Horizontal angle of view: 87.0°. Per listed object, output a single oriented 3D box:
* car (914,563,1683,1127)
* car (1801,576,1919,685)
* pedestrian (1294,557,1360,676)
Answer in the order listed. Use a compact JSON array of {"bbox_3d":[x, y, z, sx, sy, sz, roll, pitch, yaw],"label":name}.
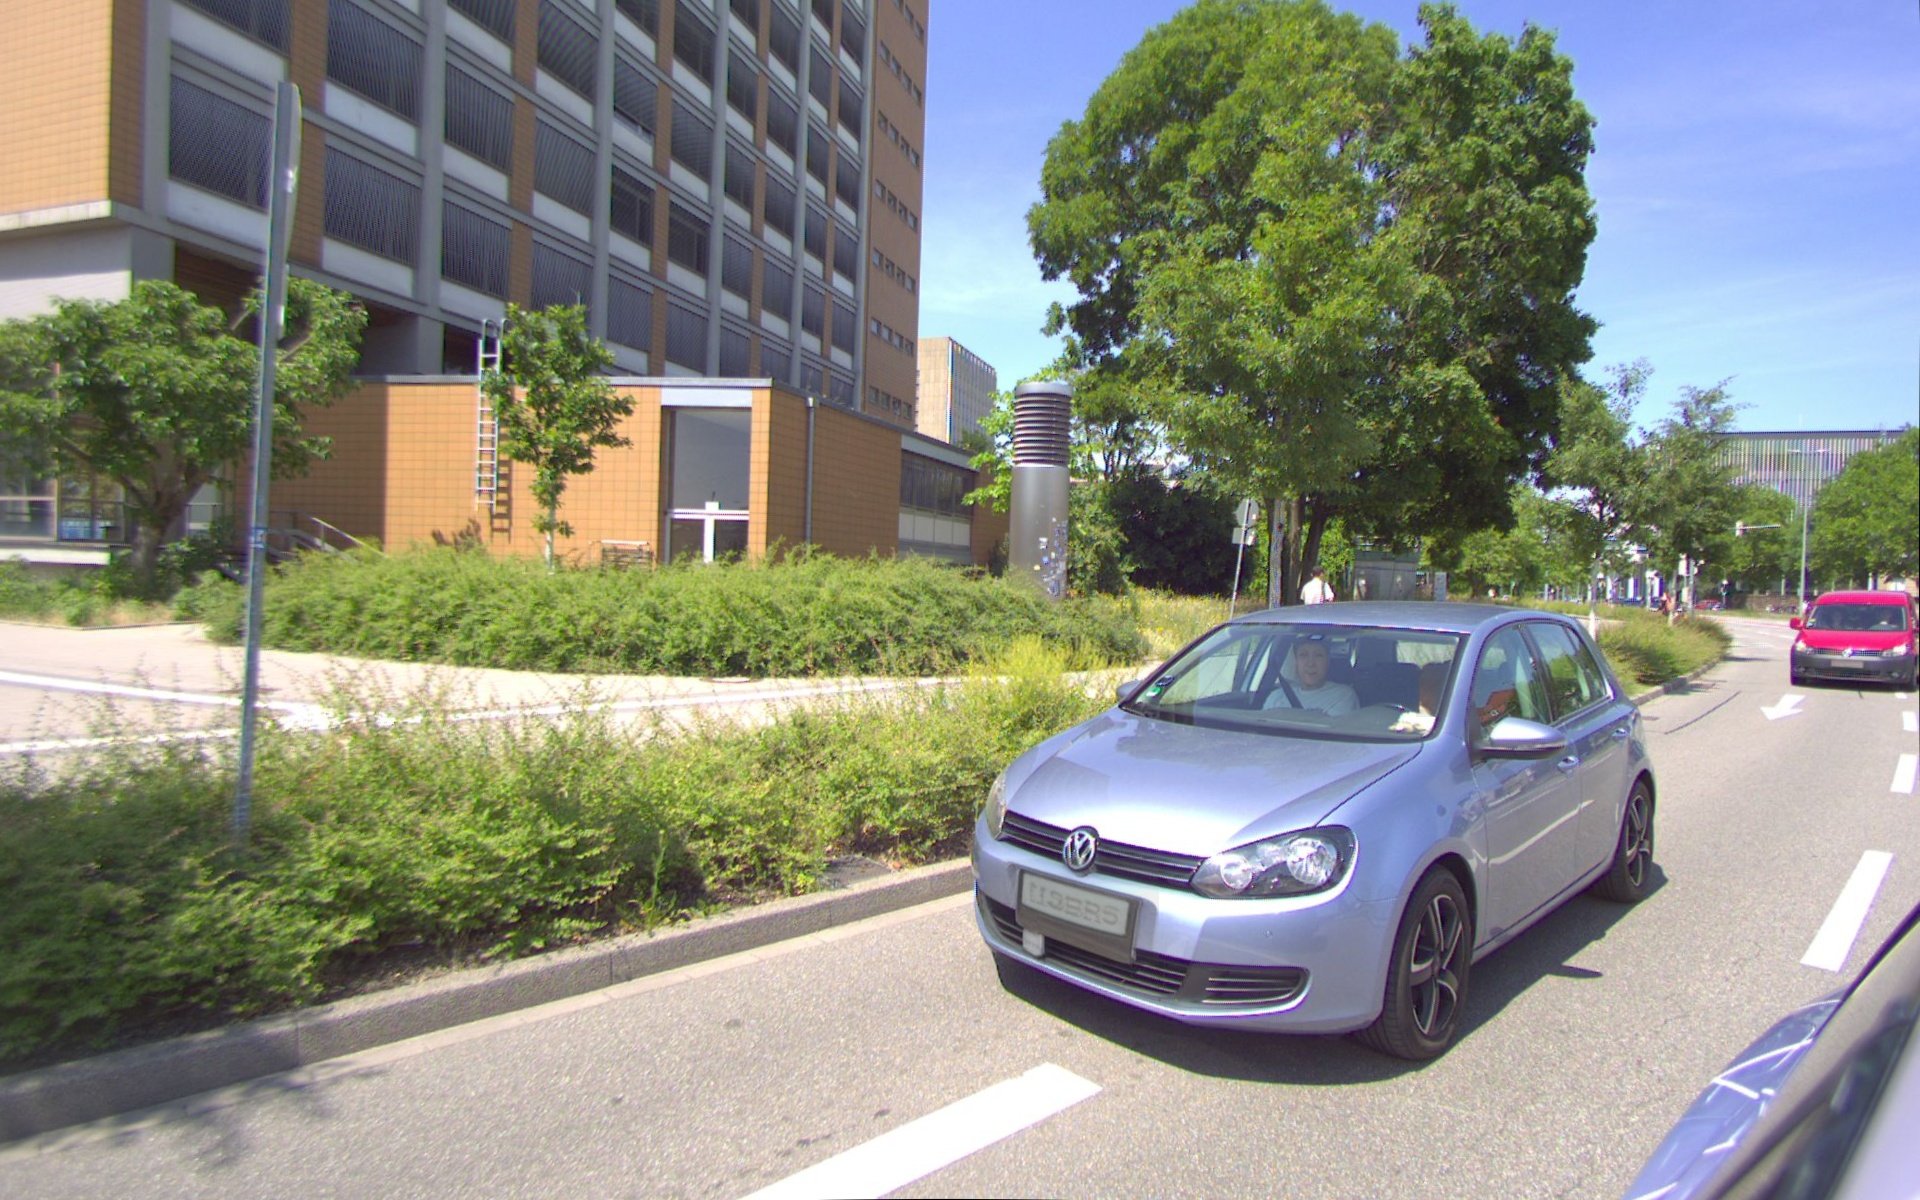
[{"bbox_3d":[1.822,0.643,4.612,3.936,1.477,1.653,0,0,-43],"label":"car"},{"bbox_3d":[17.611,0.519,19.466,4.469,1.882,1.653,0,1,-43],"label":"car"},{"bbox_3d":[5.771,0.247,15.925,0.603,1.820,0.728,1,1,-40],"label":"pedestrian"}]
